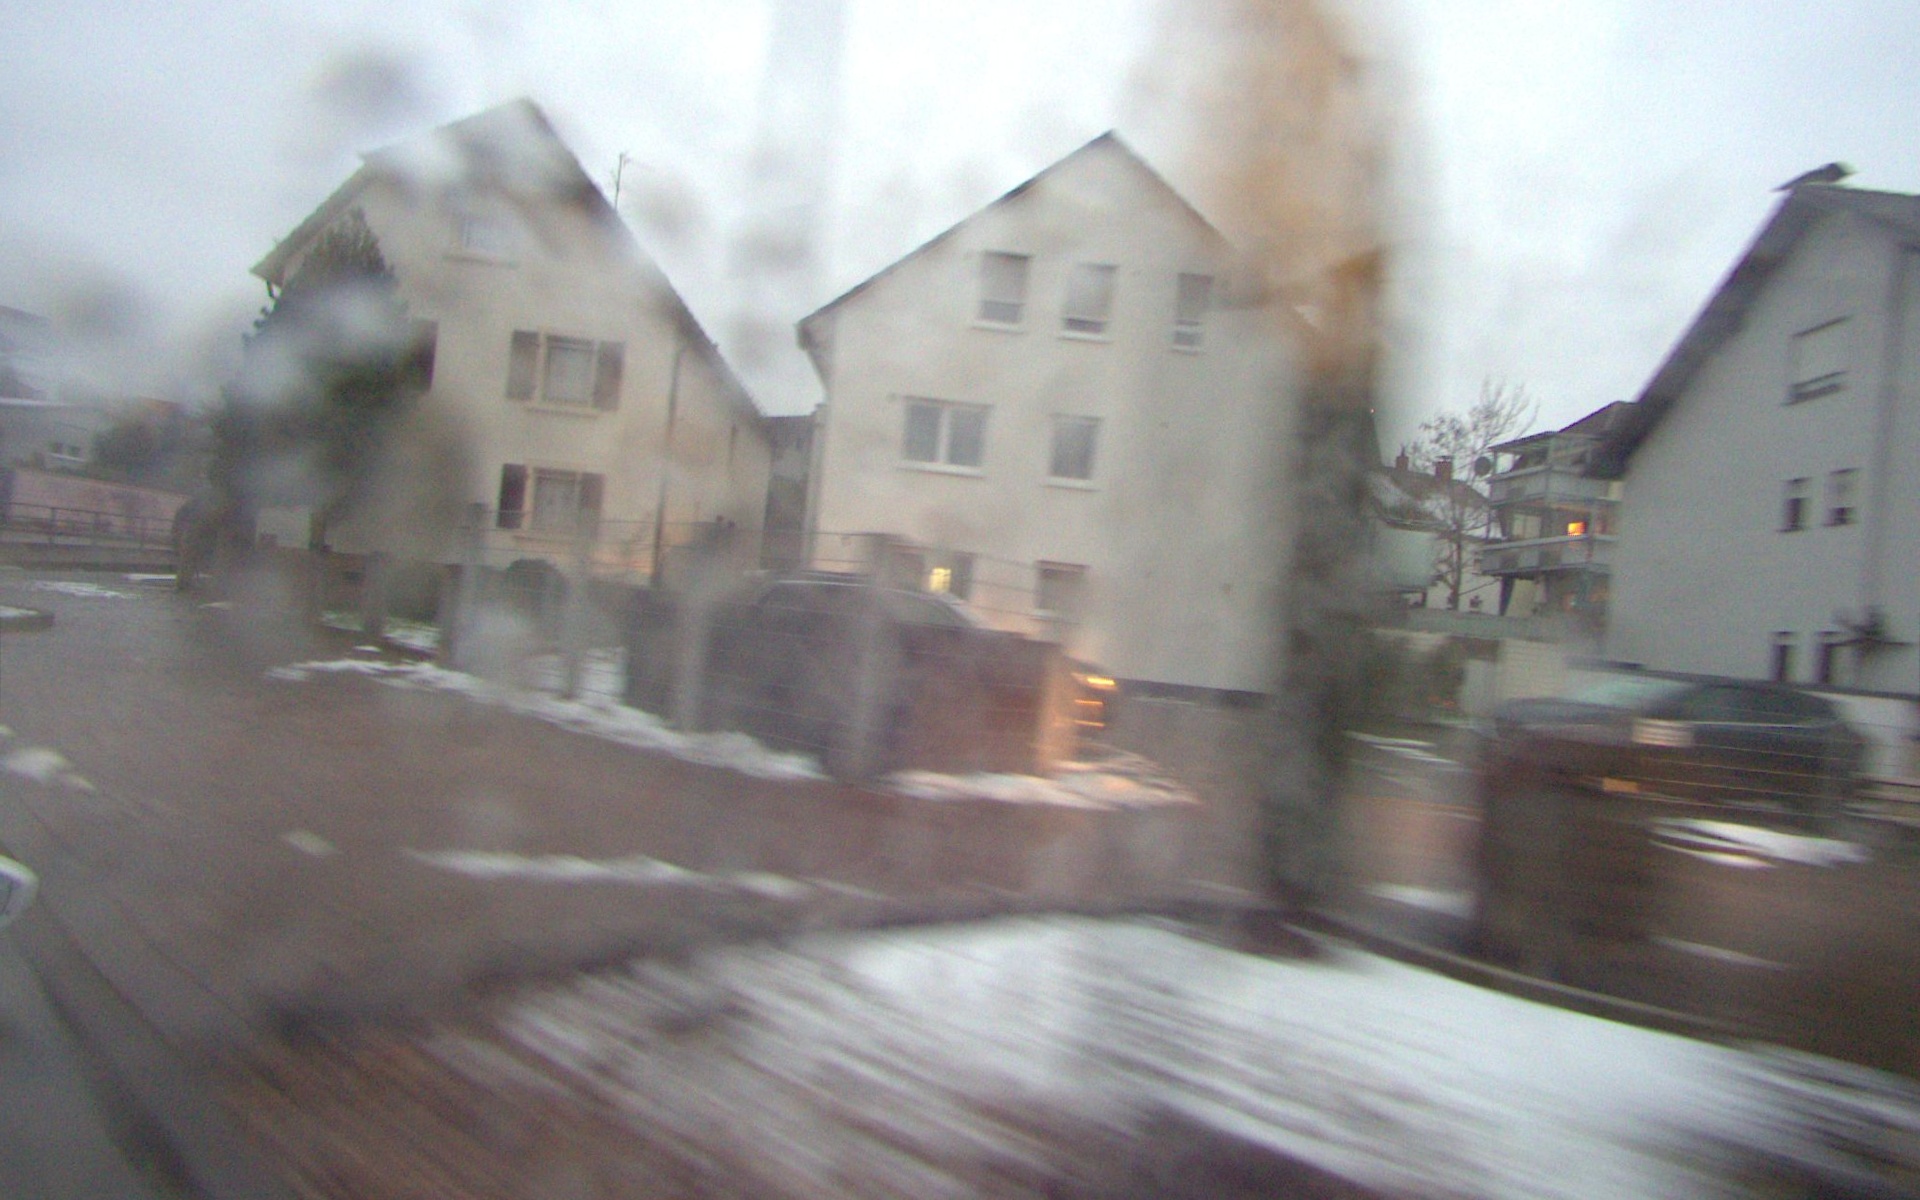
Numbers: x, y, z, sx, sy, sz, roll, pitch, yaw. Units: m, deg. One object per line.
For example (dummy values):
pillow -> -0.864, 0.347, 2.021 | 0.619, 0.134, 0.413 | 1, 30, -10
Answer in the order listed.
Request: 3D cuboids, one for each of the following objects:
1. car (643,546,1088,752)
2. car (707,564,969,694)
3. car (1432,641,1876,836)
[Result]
car -> -1.014, 0.505, 11.381 | 4.470, 1.650, 1.812 | 7, 2, -5
car -> -1.956, 0.437, 16.608 | 3.928, 1.587, 1.812 | 7, 2, -5
car -> 8.270, 1.620, 12.228 | 4.062, 1.653, 1.812 | 7, 2, -5
